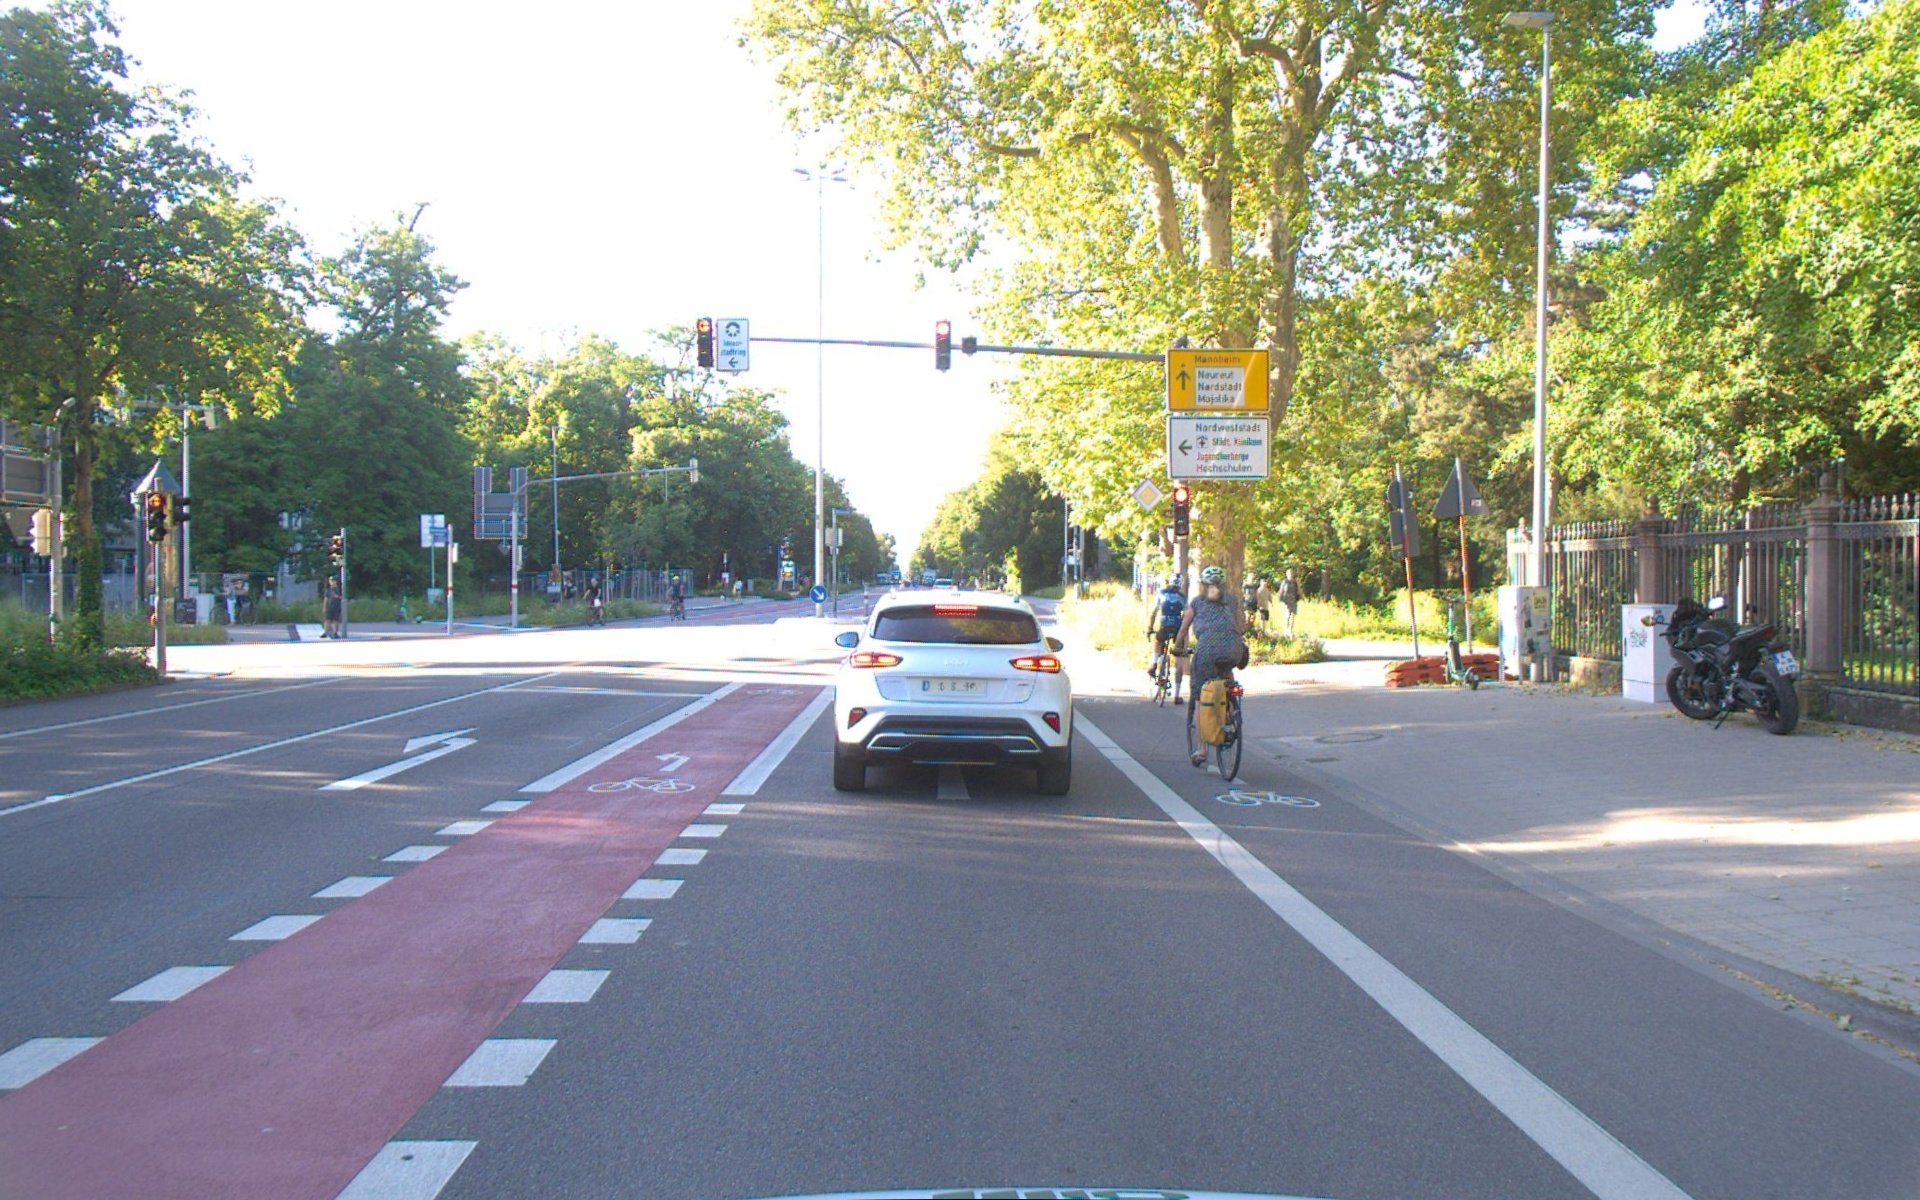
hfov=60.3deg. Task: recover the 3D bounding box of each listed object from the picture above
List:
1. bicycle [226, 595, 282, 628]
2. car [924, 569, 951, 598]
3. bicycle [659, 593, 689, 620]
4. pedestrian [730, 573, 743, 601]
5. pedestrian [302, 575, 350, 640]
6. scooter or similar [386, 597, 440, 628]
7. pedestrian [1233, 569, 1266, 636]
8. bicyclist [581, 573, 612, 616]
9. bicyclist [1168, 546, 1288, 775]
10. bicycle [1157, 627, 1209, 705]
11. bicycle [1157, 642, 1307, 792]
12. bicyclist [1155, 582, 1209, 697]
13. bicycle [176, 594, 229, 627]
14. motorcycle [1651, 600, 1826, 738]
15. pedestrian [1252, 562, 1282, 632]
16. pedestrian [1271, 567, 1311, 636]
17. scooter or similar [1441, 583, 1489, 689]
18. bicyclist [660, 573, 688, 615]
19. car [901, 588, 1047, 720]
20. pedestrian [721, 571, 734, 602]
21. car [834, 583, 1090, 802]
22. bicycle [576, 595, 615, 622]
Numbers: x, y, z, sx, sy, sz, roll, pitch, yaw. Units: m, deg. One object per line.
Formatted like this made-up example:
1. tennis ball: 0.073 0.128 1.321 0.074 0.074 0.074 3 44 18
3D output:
1. bicycle: -25.480 0.416 59.699 1.826 1.168 0.290 1 0 -7
2. car: -1.669 -1.242 122.119 1.953 2.049 4.000 -1 1 0
3. bicycle: -11.507 0.245 66.603 0.650 1.006 2.505 -1 1 2
4. pedestrian: -15.016 -0.865 111.251 0.768 1.816 0.751 1 0 0
5. pedestrian: -20.236 0.230 52.825 0.974 2.049 1.191 1 0 5
6. scooter or similar: -20.373 0.469 61.649 0.697 1.144 1.916 1 0 32
7. pedestrian: 7.562 0.072 43.273 0.676 1.729 0.643 -1 0 -7
8. bicyclist: -14.011 -0.212 63.807 0.856 1.634 0.978 -1 1 7
9. bicyclist: 2.237 0.484 13.918 0.738 1.827 1.165 2 0 -2
10. bicycle: 3.013 0.873 22.439 0.393 0.973 1.550 -3 0 -2
11. bicycle: 2.225 0.925 13.887 0.742 1.030 2.569 2 1 -2
12. bicyclist: 3.001 0.522 22.395 0.543 1.504 0.716 -3 0 -2
13. bicycle: -27.432 0.378 59.898 1.822 1.168 0.443 1 0 11
14. motorcycle: 7.079 0.586 15.164 0.495 1.151 2.170 -2 0 -2
15. pedestrian: 8.087 -0.085 43.598 0.604 1.802 0.646 -1 0 -7
16. pedestrian: 8.787 0.037 43.930 0.802 1.802 0.831 -1 0 -7
17. scooter or similar: 6.642 0.460 21.776 0.223 1.350 1.172 -1 1 -2
18. bicyclist: -11.514 -0.253 66.585 0.857 1.636 1.188 -1 1 1
19. car: 0.107 0.618 21.211 1.694 1.509 3.516 -1 1 -2
20. pedestrian: -15.602 -0.887 110.791 0.627 2.049 0.754 1 0 10
21. car: -0.041 0.629 13.517 1.784 1.506 3.935 0 1 -2
22. bicycle: -14.022 0.317 63.678 0.567 1.006 2.717 -1 1 7
